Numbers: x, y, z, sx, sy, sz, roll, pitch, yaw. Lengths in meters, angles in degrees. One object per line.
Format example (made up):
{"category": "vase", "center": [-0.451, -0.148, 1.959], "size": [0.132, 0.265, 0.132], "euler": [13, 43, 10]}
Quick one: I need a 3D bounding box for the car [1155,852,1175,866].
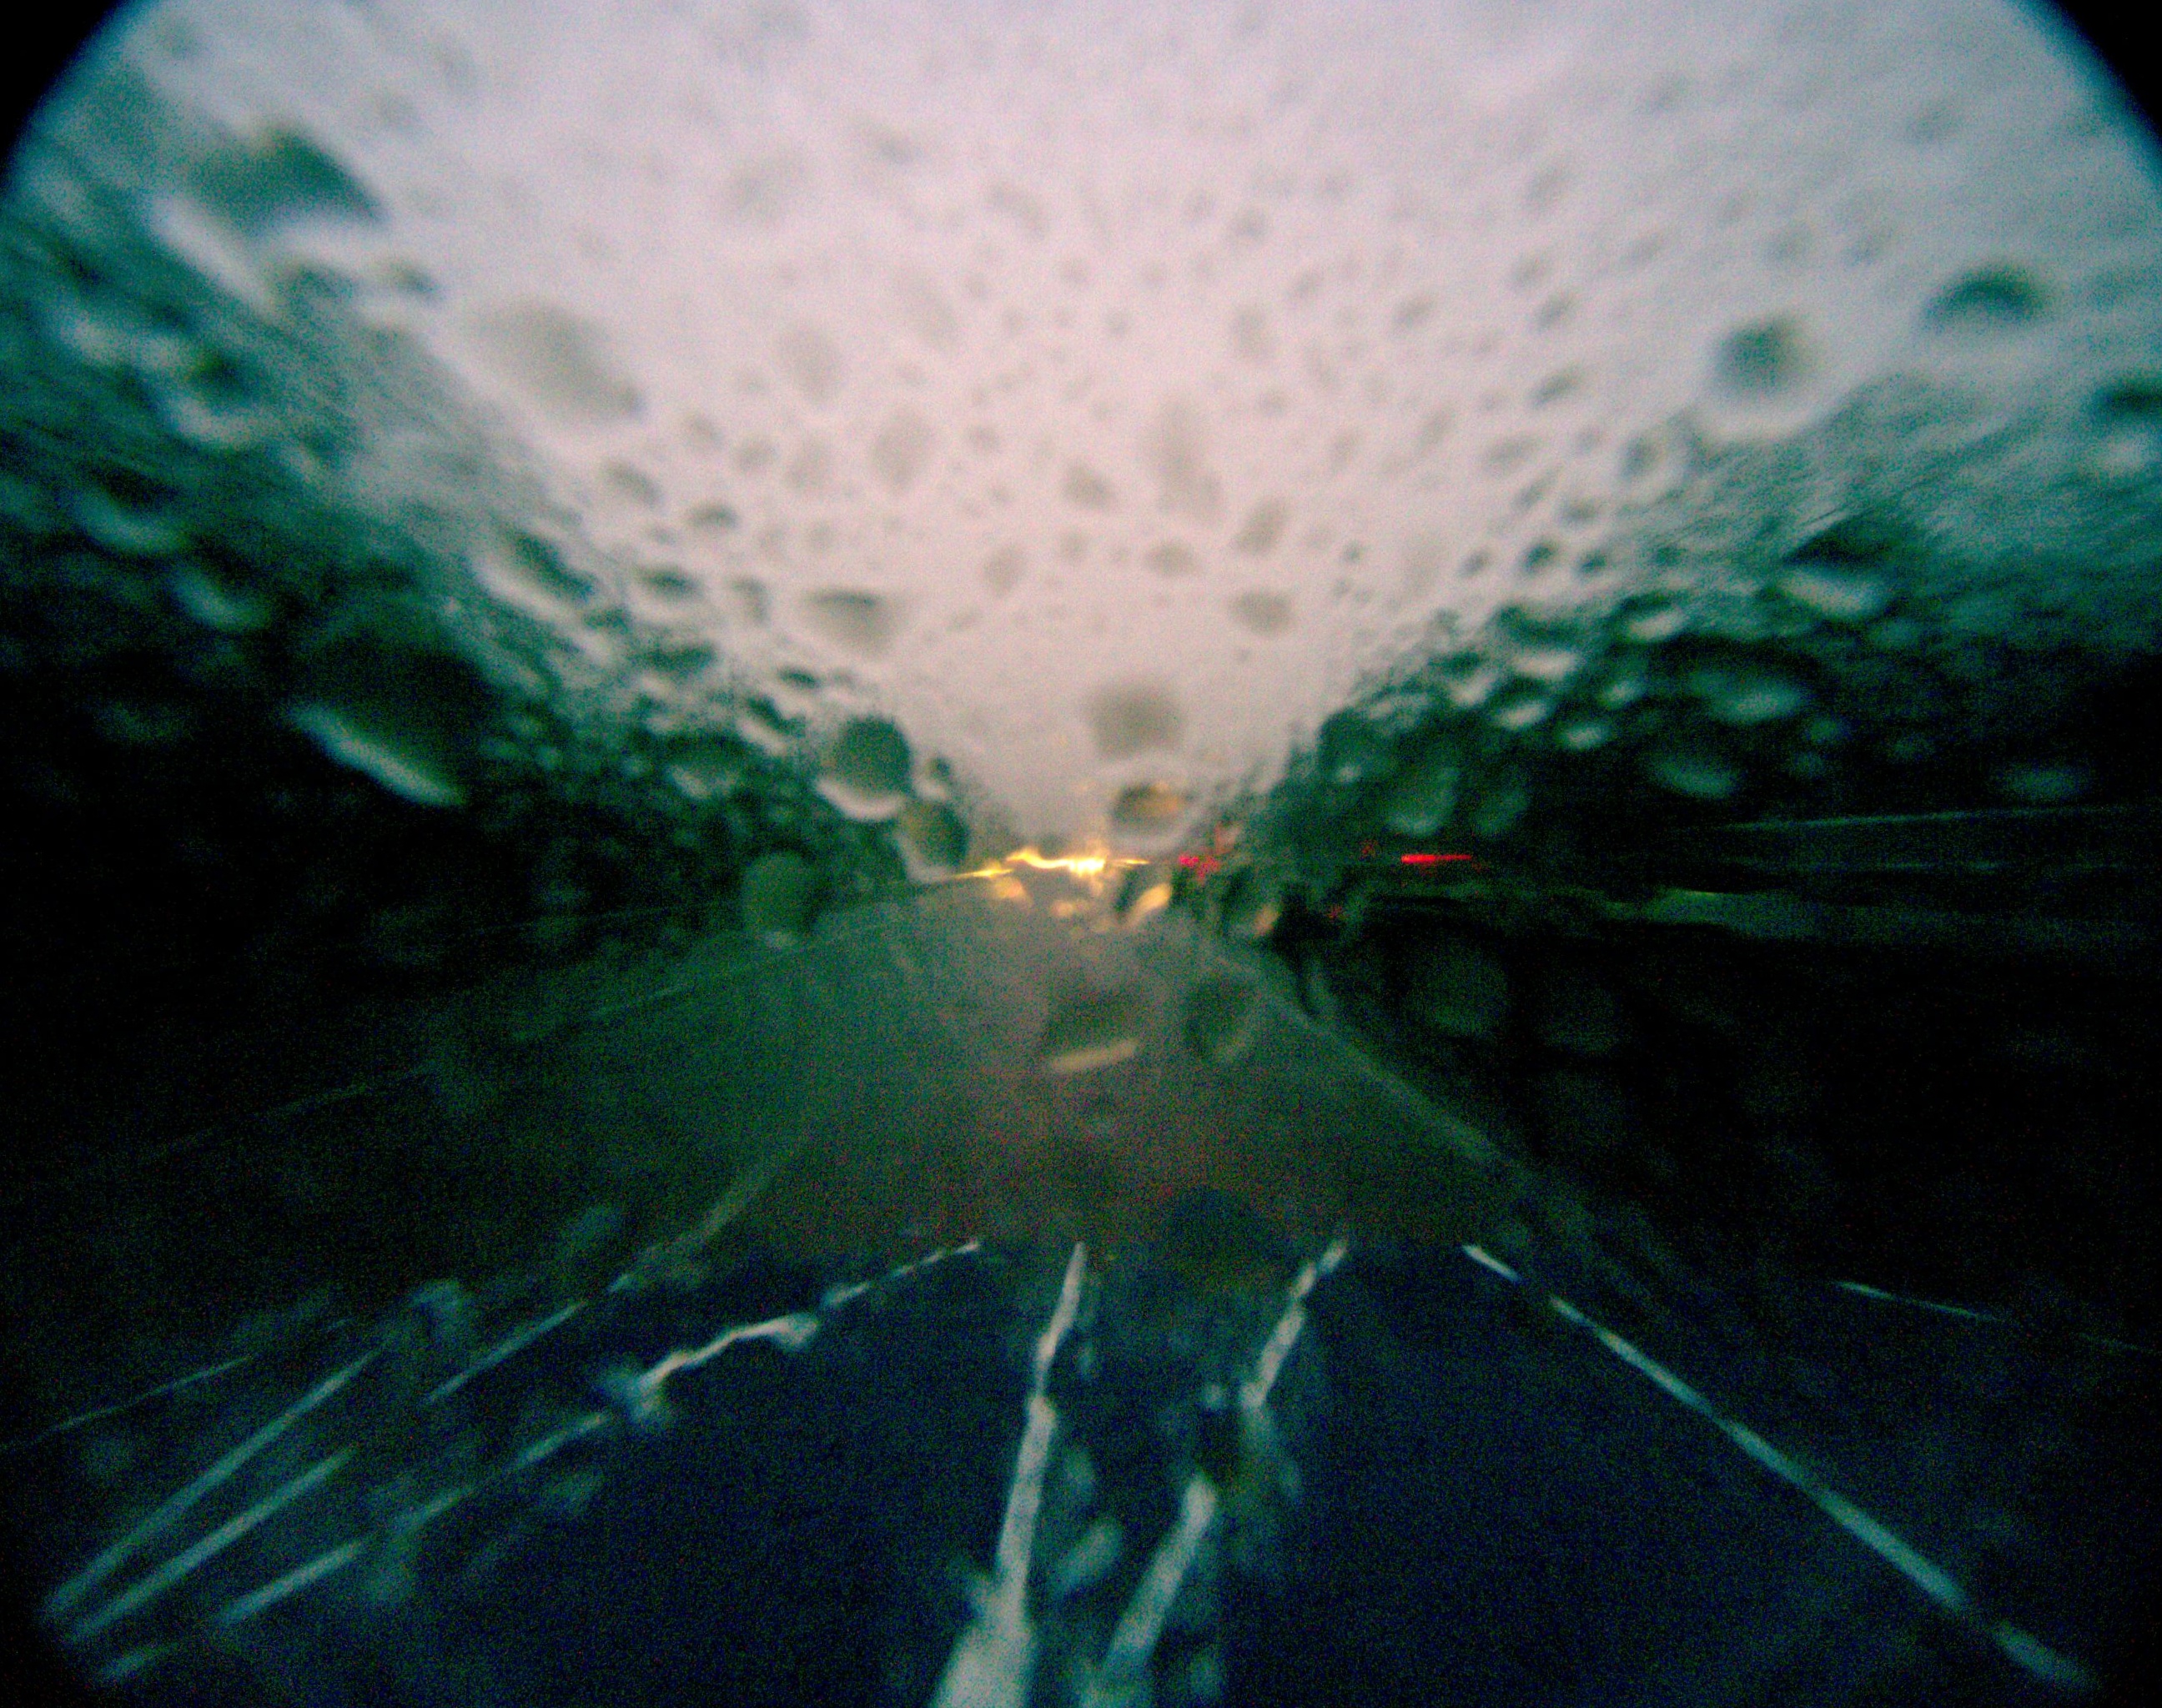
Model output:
{"category": "car", "center": [9.657, 0.528, 87.208], "size": [1.813, 1.558, 4.000], "euler": [-2, 0, 0]}

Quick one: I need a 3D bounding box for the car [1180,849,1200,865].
{"category": "car", "center": [13.664, 0.352, 95.448], "size": [1.998, 1.938, 4.712], "euler": [-2, 0, 2]}

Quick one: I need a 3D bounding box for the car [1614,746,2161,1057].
{"category": "car", "center": [7.682, 0.279, 7.228], "size": [1.937, 2.002, 4.639], "euler": [-2, 0, 0]}

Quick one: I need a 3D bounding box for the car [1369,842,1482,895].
{"category": "car", "center": [12.231, 0.446, 27.312], "size": [1.999, 1.565, 4.271], "euler": [-5, 2, 0]}
